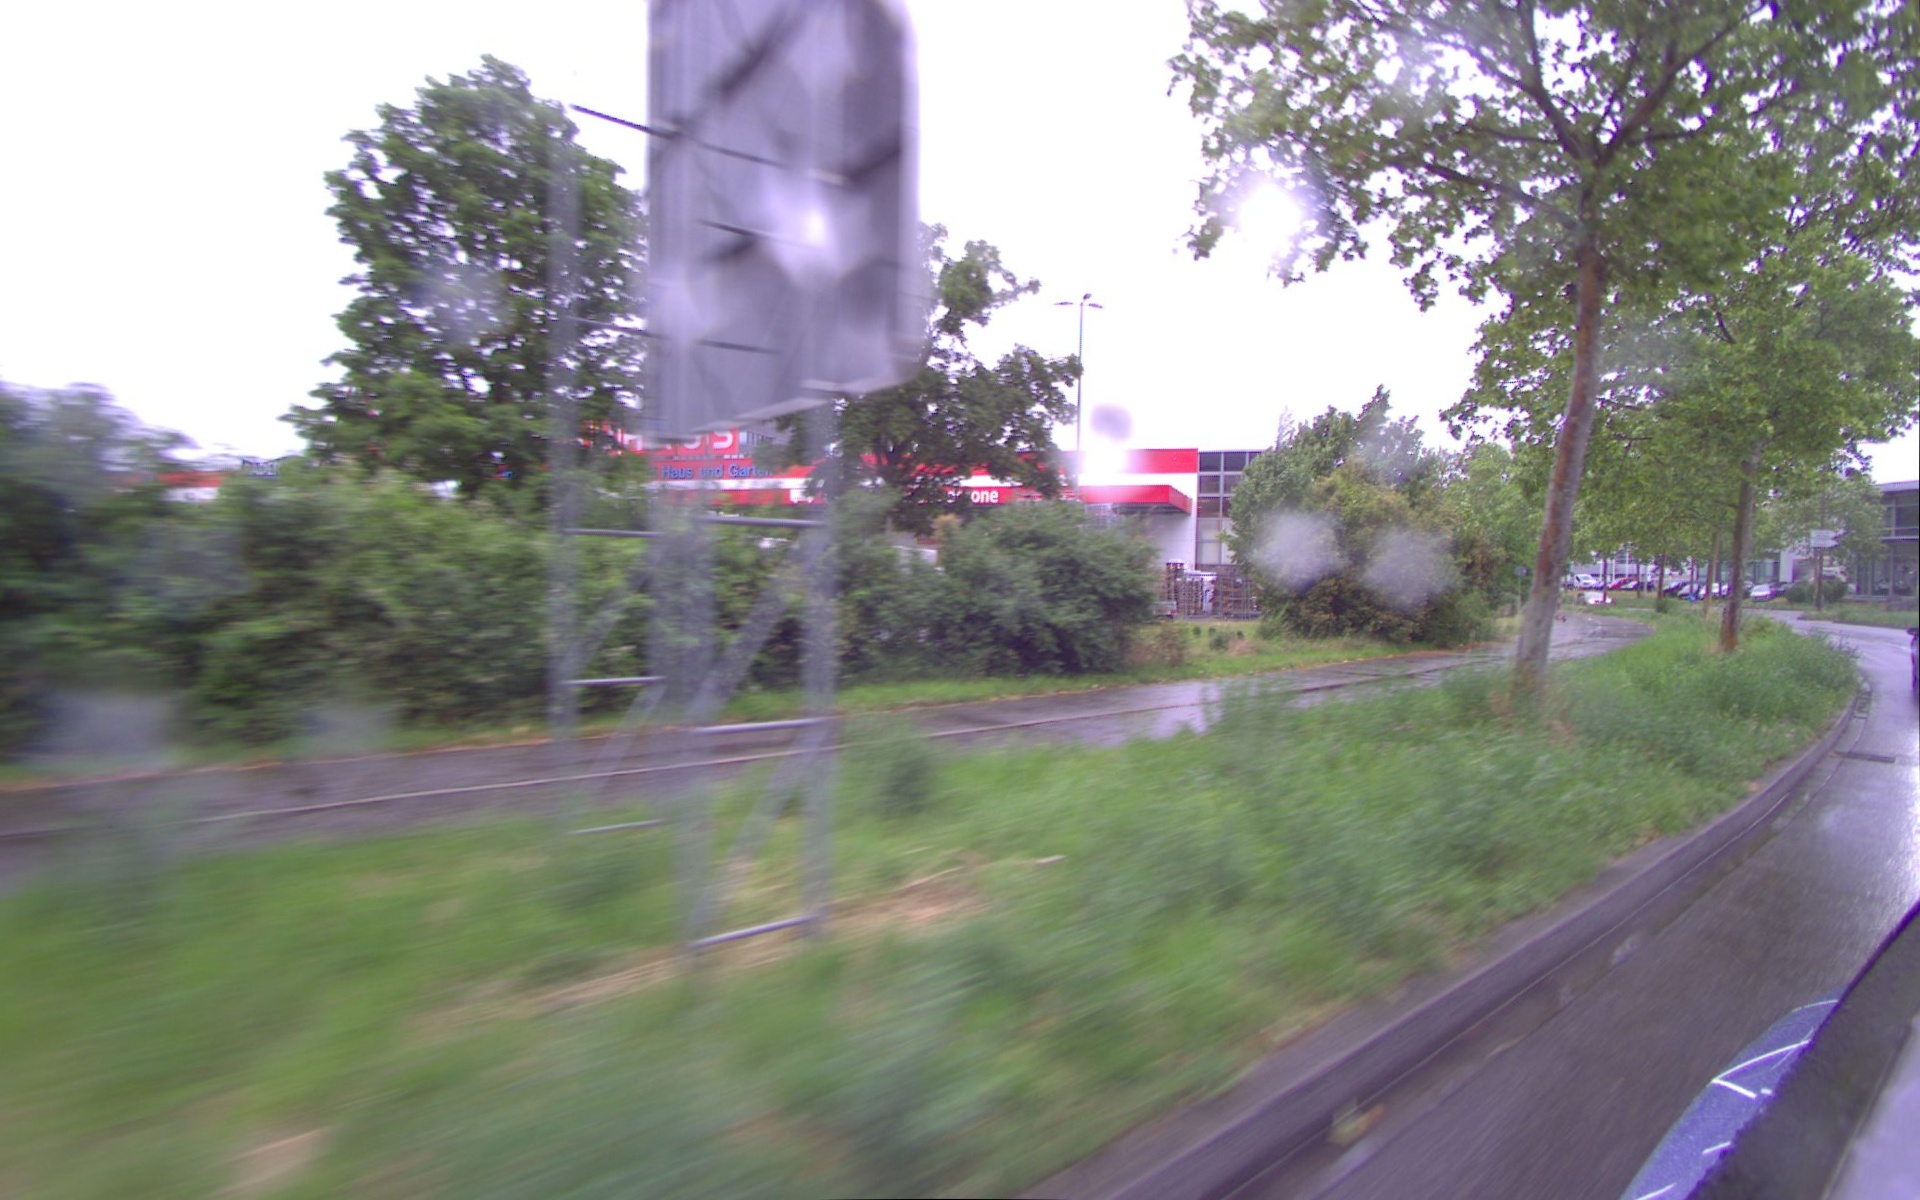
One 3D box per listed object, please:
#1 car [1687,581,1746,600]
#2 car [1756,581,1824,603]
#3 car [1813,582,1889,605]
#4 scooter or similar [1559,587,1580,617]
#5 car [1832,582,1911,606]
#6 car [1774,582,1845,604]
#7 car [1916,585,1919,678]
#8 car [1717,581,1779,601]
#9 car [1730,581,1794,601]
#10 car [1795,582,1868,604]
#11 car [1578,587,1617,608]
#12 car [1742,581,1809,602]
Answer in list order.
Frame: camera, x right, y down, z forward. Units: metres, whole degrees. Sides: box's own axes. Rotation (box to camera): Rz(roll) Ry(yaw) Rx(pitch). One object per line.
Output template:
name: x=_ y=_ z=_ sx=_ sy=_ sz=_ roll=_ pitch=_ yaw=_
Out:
car: x=70.153 y=-0.886 z=93.868 sx=3.929 sy=1.680 sz=1.863 roll=-1 pitch=1 yaw=5
car: x=68.062 y=-0.665 z=83.020 sx=3.929 sy=1.680 sz=1.863 roll=-1 pitch=1 yaw=5
car: x=67.336 y=-0.512 z=76.540 sx=3.929 sy=1.680 sz=1.863 roll=-1 pitch=1 yaw=5
scooter or similar: x=27.437 y=0.071 z=45.580 sx=0.445 sy=1.290 sz=1.592 roll=1 pitch=1 yaw=18
car: x=67.120 y=-0.475 z=74.575 sx=3.929 sy=1.680 sz=1.863 roll=-1 pitch=1 yaw=5
car: x=67.664 y=-0.589 z=80.633 sx=3.929 sy=1.680 sz=1.863 roll=-1 pitch=1 yaw=5
car: x=16.514 y=0.566 z=16.024 sx=1.782 sy=1.635 sz=4.647 roll=-1 pitch=0 yaw=41
car: x=69.726 y=-0.805 z=89.558 sx=3.929 sy=1.680 sz=1.863 roll=-1 pitch=1 yaw=5
car: x=69.216 y=-0.758 z=87.343 sx=3.929 sy=1.680 sz=1.863 roll=-1 pitch=1 yaw=5
car: x=67.563 y=-0.550 z=78.493 sx=3.929 sy=1.680 sz=1.863 roll=-1 pitch=1 yaw=5
car: x=54.531 y=-0.253 z=86.679 sx=1.975 sy=1.671 sz=3.975 roll=1 pitch=1 yaw=19
car: x=68.642 y=-0.713 z=85.233 sx=3.929 sy=1.680 sz=1.863 roll=-1 pitch=1 yaw=5
